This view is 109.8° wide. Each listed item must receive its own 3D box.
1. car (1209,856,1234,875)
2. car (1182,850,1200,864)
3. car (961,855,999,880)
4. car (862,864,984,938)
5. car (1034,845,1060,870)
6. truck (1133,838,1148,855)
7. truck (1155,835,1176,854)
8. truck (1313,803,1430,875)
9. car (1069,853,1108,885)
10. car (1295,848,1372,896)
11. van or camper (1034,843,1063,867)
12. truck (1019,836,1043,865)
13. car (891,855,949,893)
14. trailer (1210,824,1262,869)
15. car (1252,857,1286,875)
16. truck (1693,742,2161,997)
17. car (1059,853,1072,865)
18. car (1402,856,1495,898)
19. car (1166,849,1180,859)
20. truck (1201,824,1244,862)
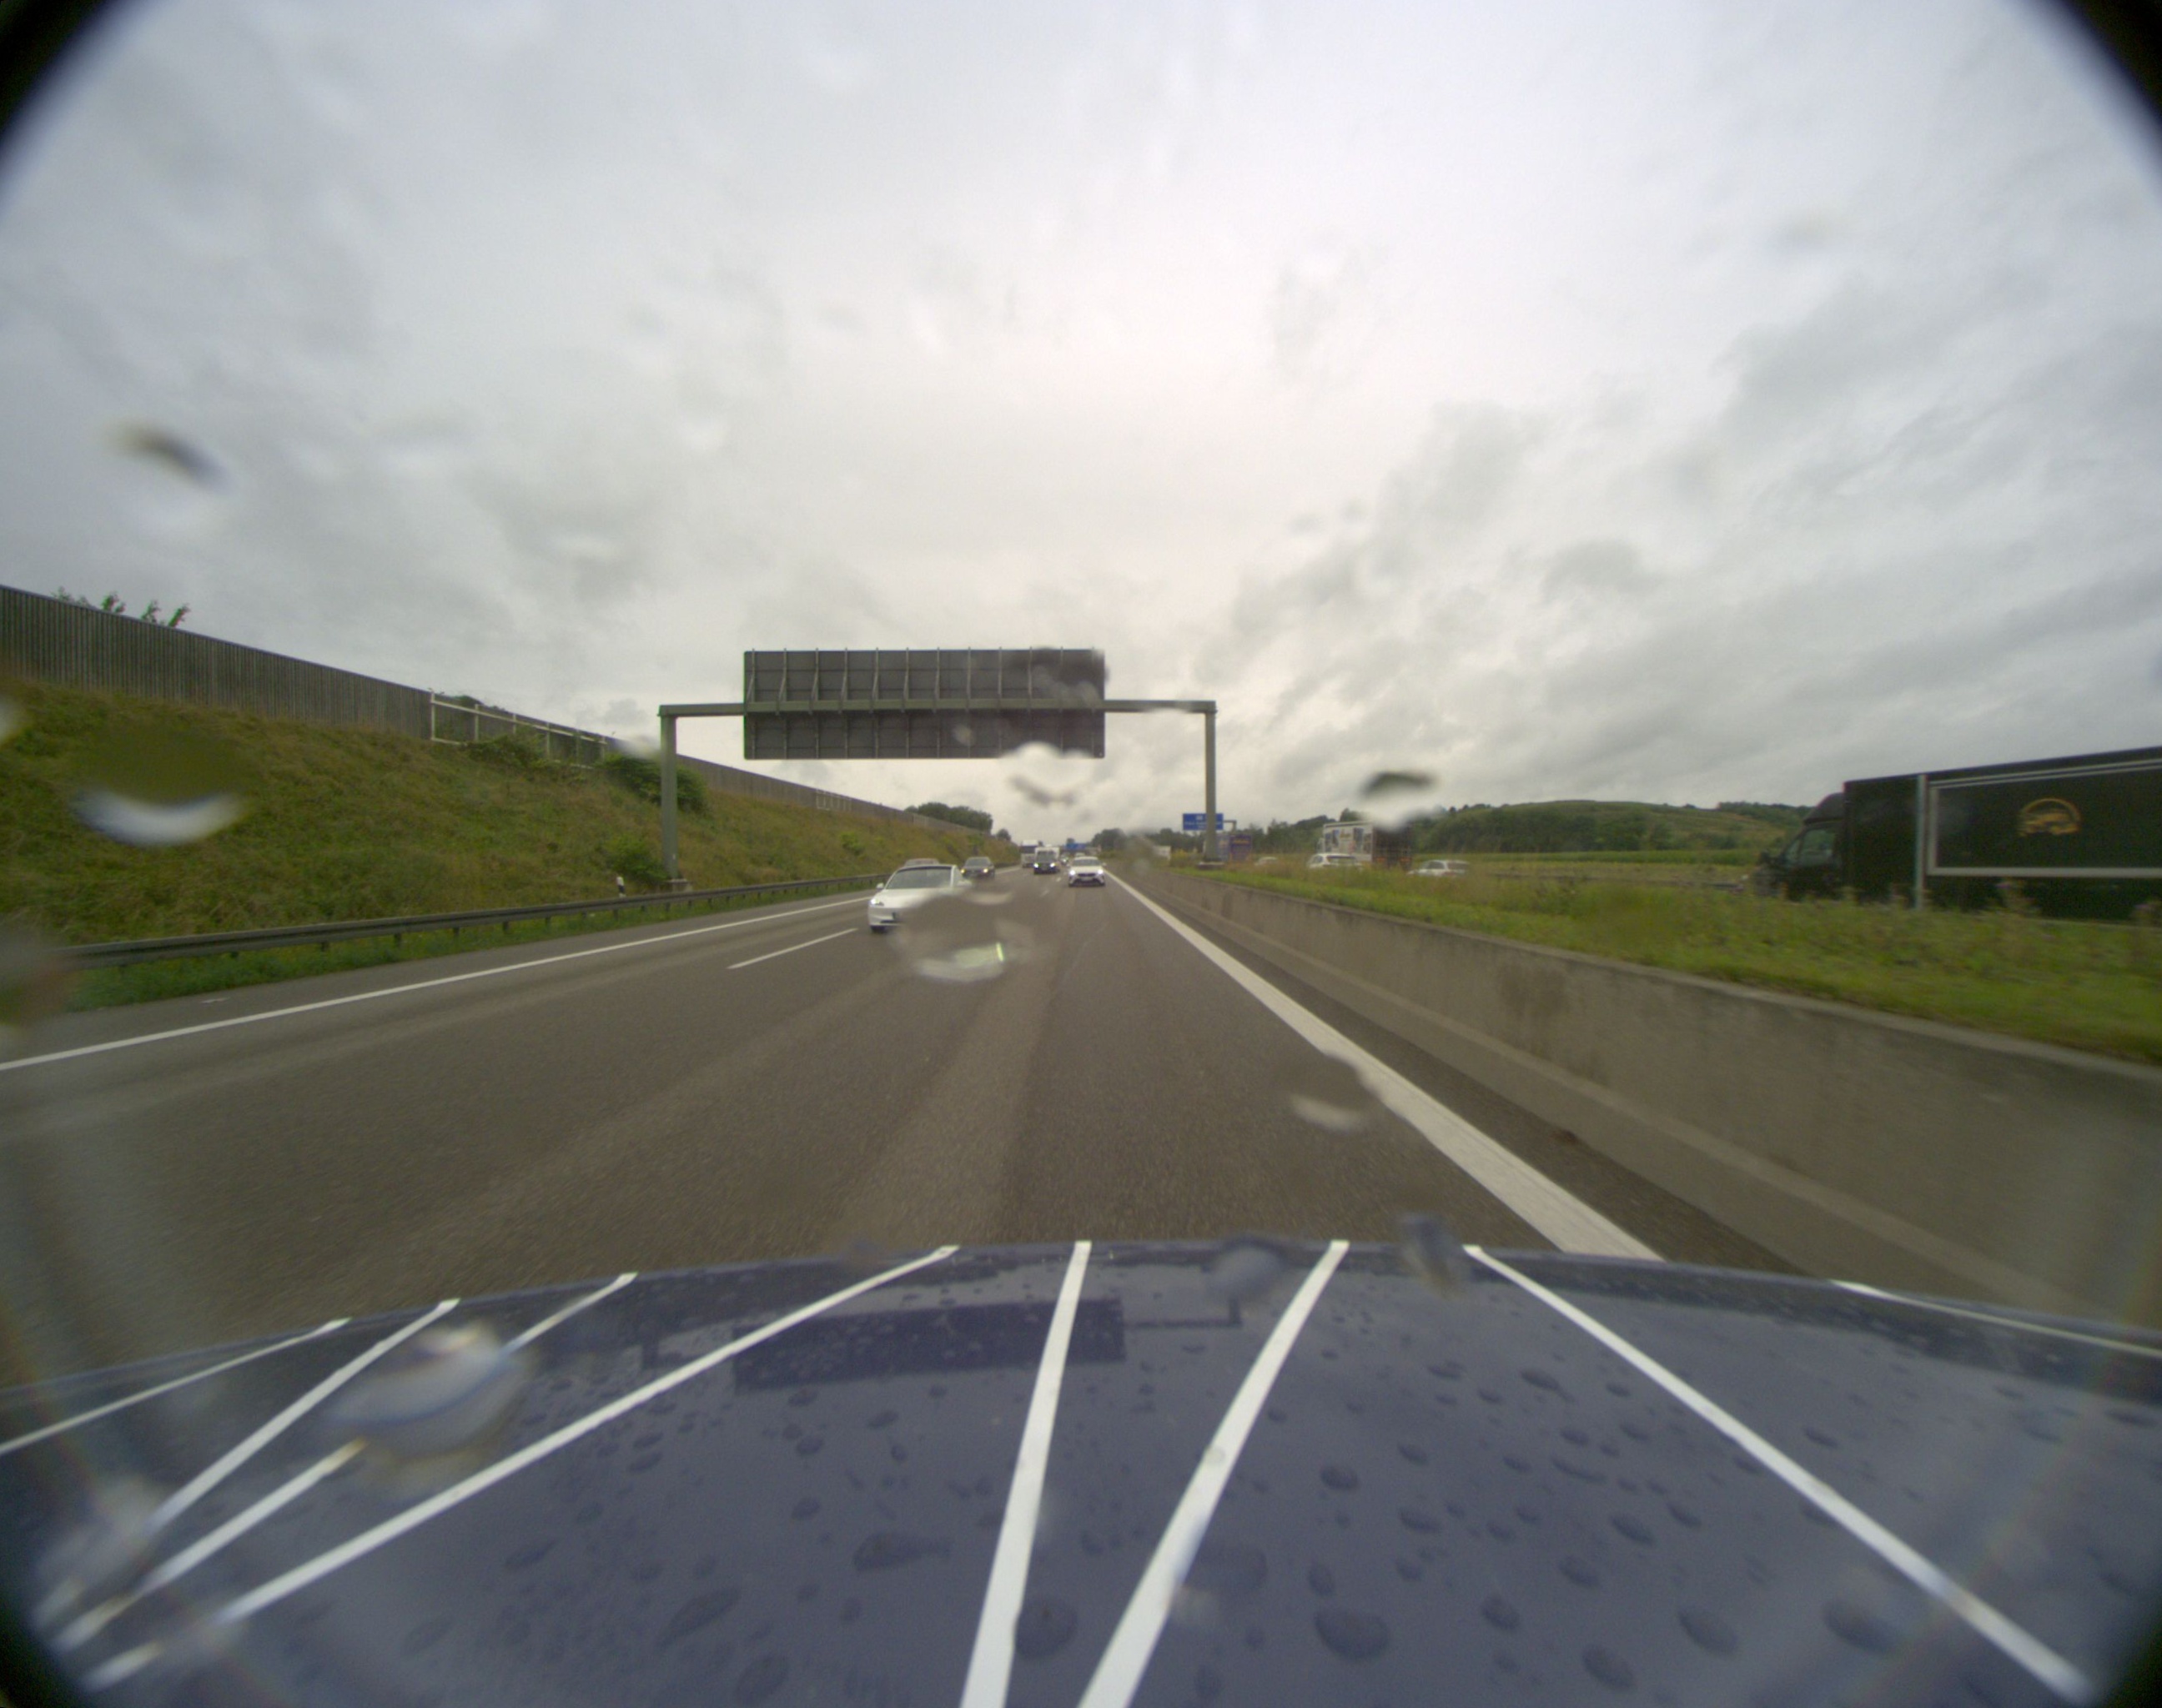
[{"bbox_3d":[13.718,1.109,74.151,1.758,1.698,4.000,0,0,1],"label":"car"},{"bbox_3d":[14.483,0.324,99.934,1.871,1.774,4.000,0,0,1],"label":"car"},{"bbox_3d":[-6.649,0.856,50.367,1.929,1.480,4.485,-2,1,0],"label":"car"},{"bbox_3d":[-3.607,1.005,18.258,1.878,1.355,4.812,-2,1,0],"label":"car"},{"bbox_3d":[-3.030,0.273,68.084,1.998,2.002,4.937,-2,1,1],"label":"car"},{"bbox_3d":[16.747,-2.179,212.802,3.233,4.623,9.672,-2,1,0],"label":"truck"},{"bbox_3d":[18.121,-2.098,163.749,3.192,3.944,10.809,-2,1,1],"label":"truck"},{"bbox_3d":[20.134,-1.017,53.836,3.521,4.458,11.784,-2,1,-1],"label":"truck"},{"bbox_3d":[0.414,0.726,38.869,1.840,1.455,3.999,-2,1,1],"label":"car"},{"bbox_3d":[10.166,0.675,30.918,1.785,1.707,3.999,-2,1,1],"label":"car"},{"bbox_3d":[-3.060,0.021,73.371,2.432,2.139,6.497,-2,1,1],"label":"van or camper"},{"bbox_3d":[-7.409,-0.569,113.293,3.090,4.003,6.955,-2,1,-1],"label":"truck"},{"bbox_3d":[-7.515,0.891,35.815,1.878,1.526,3.999,-2,1,0],"label":"car"},{"bbox_3d":[17.756,-0.875,87.878,3.396,4.741,11.679,-2,0,-1],"label":"trailer"},{"bbox_3d":[17.327,1.084,70.392,1.887,1.606,5.014,0,0,0],"label":"car"},{"bbox_3d":[13.415,0.093,11.512,2.317,2.892,7.423,-2,1,1],"label":"truck"},{"bbox_3d":[-2.404,0.774,119.548,1.999,1.759,3.999,0,0,-2],"label":"car"},{"bbox_3d":[17.012,1.007,35.474,1.998,1.707,4.836,-2,1,1],"label":"car"},{"bbox_3d":[17.133,-0.067,141.991,1.998,1.674,3.999,-2,1,0],"label":"car"},{"bbox_3d":[17.711,-1.369,95.949,3.421,4.338,10.989,-2,1,0],"label":"truck"}]
